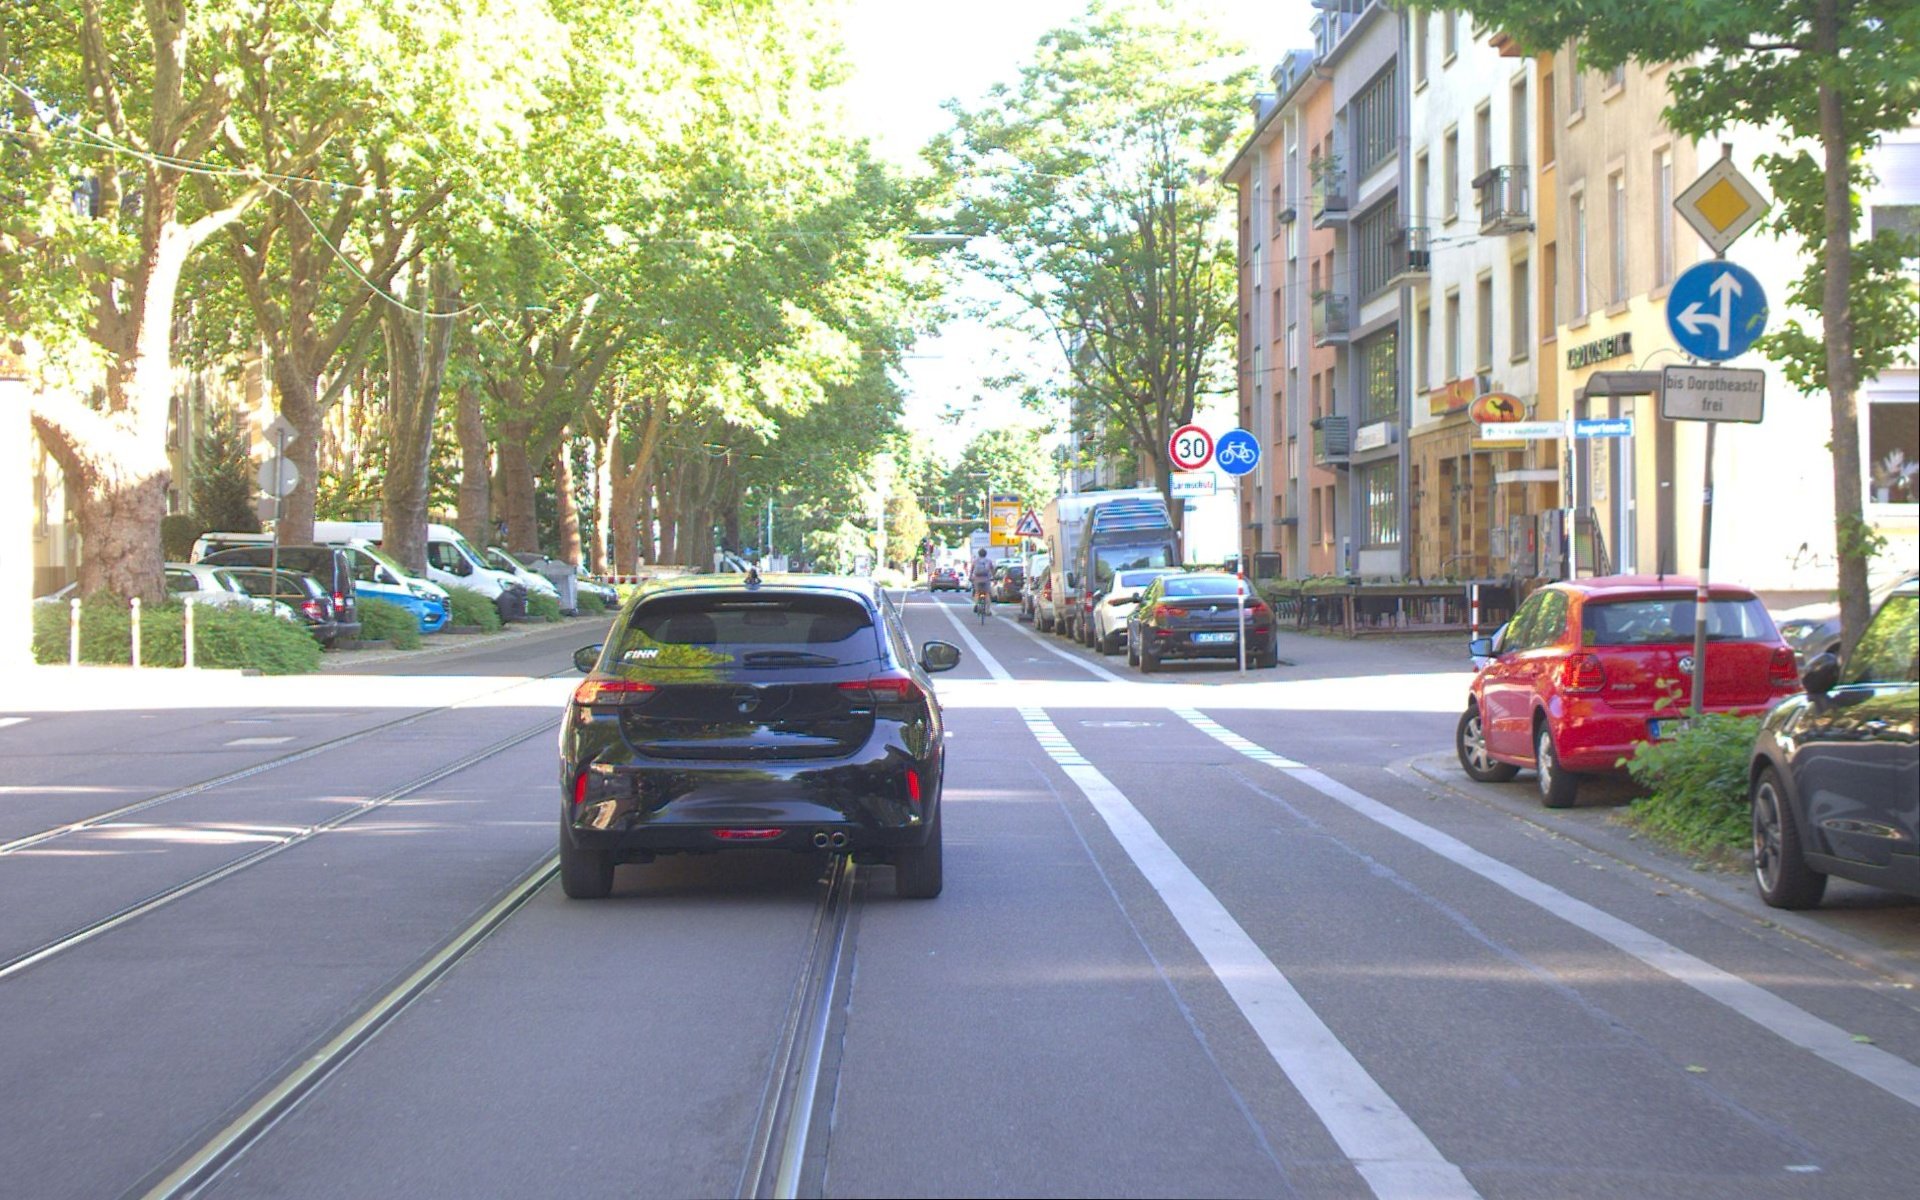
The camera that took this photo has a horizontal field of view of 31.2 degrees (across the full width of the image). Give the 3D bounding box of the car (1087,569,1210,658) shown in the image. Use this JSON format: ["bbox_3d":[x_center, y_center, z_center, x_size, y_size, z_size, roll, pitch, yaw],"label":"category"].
[{"bbox_3d":[3.207,0.234,59.151,1.803,1.429,4.000,-2,0,-1],"label":"car"}]

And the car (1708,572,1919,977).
[{"bbox_3d":[4.483,0.649,14.226,1.712,1.509,4.037,-3,1,-2],"label":"car"}]

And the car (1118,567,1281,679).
[{"bbox_3d":[3.369,0.290,49.060,1.884,1.429,4.530,-3,1,-1],"label":"car"}]

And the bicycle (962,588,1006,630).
[{"bbox_3d":[0.579,0.211,85.034,0.968,0.995,2.583,0,1,-2],"label":"bicycle"}]

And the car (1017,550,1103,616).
[{"bbox_3d":[2.912,-0.520,101.620,2.254,1.834,5.531,-2,1,-1],"label":"car"}]

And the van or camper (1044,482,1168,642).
[{"bbox_3d":[3.048,-0.808,72.913,2.254,3.205,5.531,-2,1,-1],"label":"van or camper"}]

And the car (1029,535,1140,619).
[{"bbox_3d":[2.855,-0.551,80.115,2.254,1.834,5.531,-2,1,-1],"label":"car"}]

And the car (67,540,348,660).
[{"bbox_3d":[-12.353,-0.003,56.655,4.298,1.669,1.783,-4,1,-8],"label":"car"}]

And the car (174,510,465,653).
[{"bbox_3d":[-12.189,-0.353,65.678,5.036,2.366,2.081,-4,1,0],"label":"car"}]

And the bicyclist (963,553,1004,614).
[{"bbox_3d":[0.571,-0.404,85.016,0.958,1.494,1.094,0,1,-2],"label":"bicyclist"}]

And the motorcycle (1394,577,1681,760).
[{"bbox_3d":[4.563,0.539,27.128,2.092,1.354,0.923,-2,0,16],"label":"motorcycle"}]

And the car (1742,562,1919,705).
[{"bbox_3d":[11.251,0.371,39.414,4.188,1.592,1.890,0,1,3],"label":"car"}]

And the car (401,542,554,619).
[{"bbox_3d":[-12.886,-0.534,91.652,3.986,2.007,2.001,0,1,-9],"label":"car"}]

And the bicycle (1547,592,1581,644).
[{"bbox_3d":[9.398,0.271,53.479,0.474,0.786,1.790,1,1,11],"label":"bicycle"}]

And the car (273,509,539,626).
[{"bbox_3d":[-12.593,-0.752,78.389,5.639,2.584,2.196,1,1,3],"label":"car"}]

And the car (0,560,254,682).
[{"bbox_3d":[-12.949,0.327,51.901,4.298,1.588,1.783,-4,1,-8],"label":"car"}]

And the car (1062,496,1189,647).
[{"bbox_3d":[3.157,-0.581,66.352,2.085,2.762,4.698,-2,1,-1],"label":"car"}]

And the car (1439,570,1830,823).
[{"bbox_3d":[4.391,0.571,22.953,1.702,1.418,3.978,-4,1,-1],"label":"car"}]

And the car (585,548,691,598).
[{"bbox_3d":[-13.186,-1.119,140.977,3.988,2.007,2.000,1,1,6],"label":"car"}]

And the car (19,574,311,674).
[{"bbox_3d":[-12.584,0.364,54.624,4.298,1.286,1.711,-4,1,-8],"label":"car"}]

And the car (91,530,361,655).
[{"bbox_3d":[-12.552,-0.142,58.982,4.298,1.834,1.783,-4,1,-8],"label":"car"}]

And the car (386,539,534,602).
[{"bbox_3d":[-14.458,-0.853,99.283,4.175,1.788,2.001,0,1,-9],"label":"car"}]

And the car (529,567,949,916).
[{"bbox_3d":[-0.954,0.580,16.526,1.763,1.455,3.950,0,1,-1],"label":"car"}]

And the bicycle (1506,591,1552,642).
[{"bbox_3d":[9.040,0.253,54.659,0.409,0.786,1.791,0,1,-1],"label":"bicycle"}]
